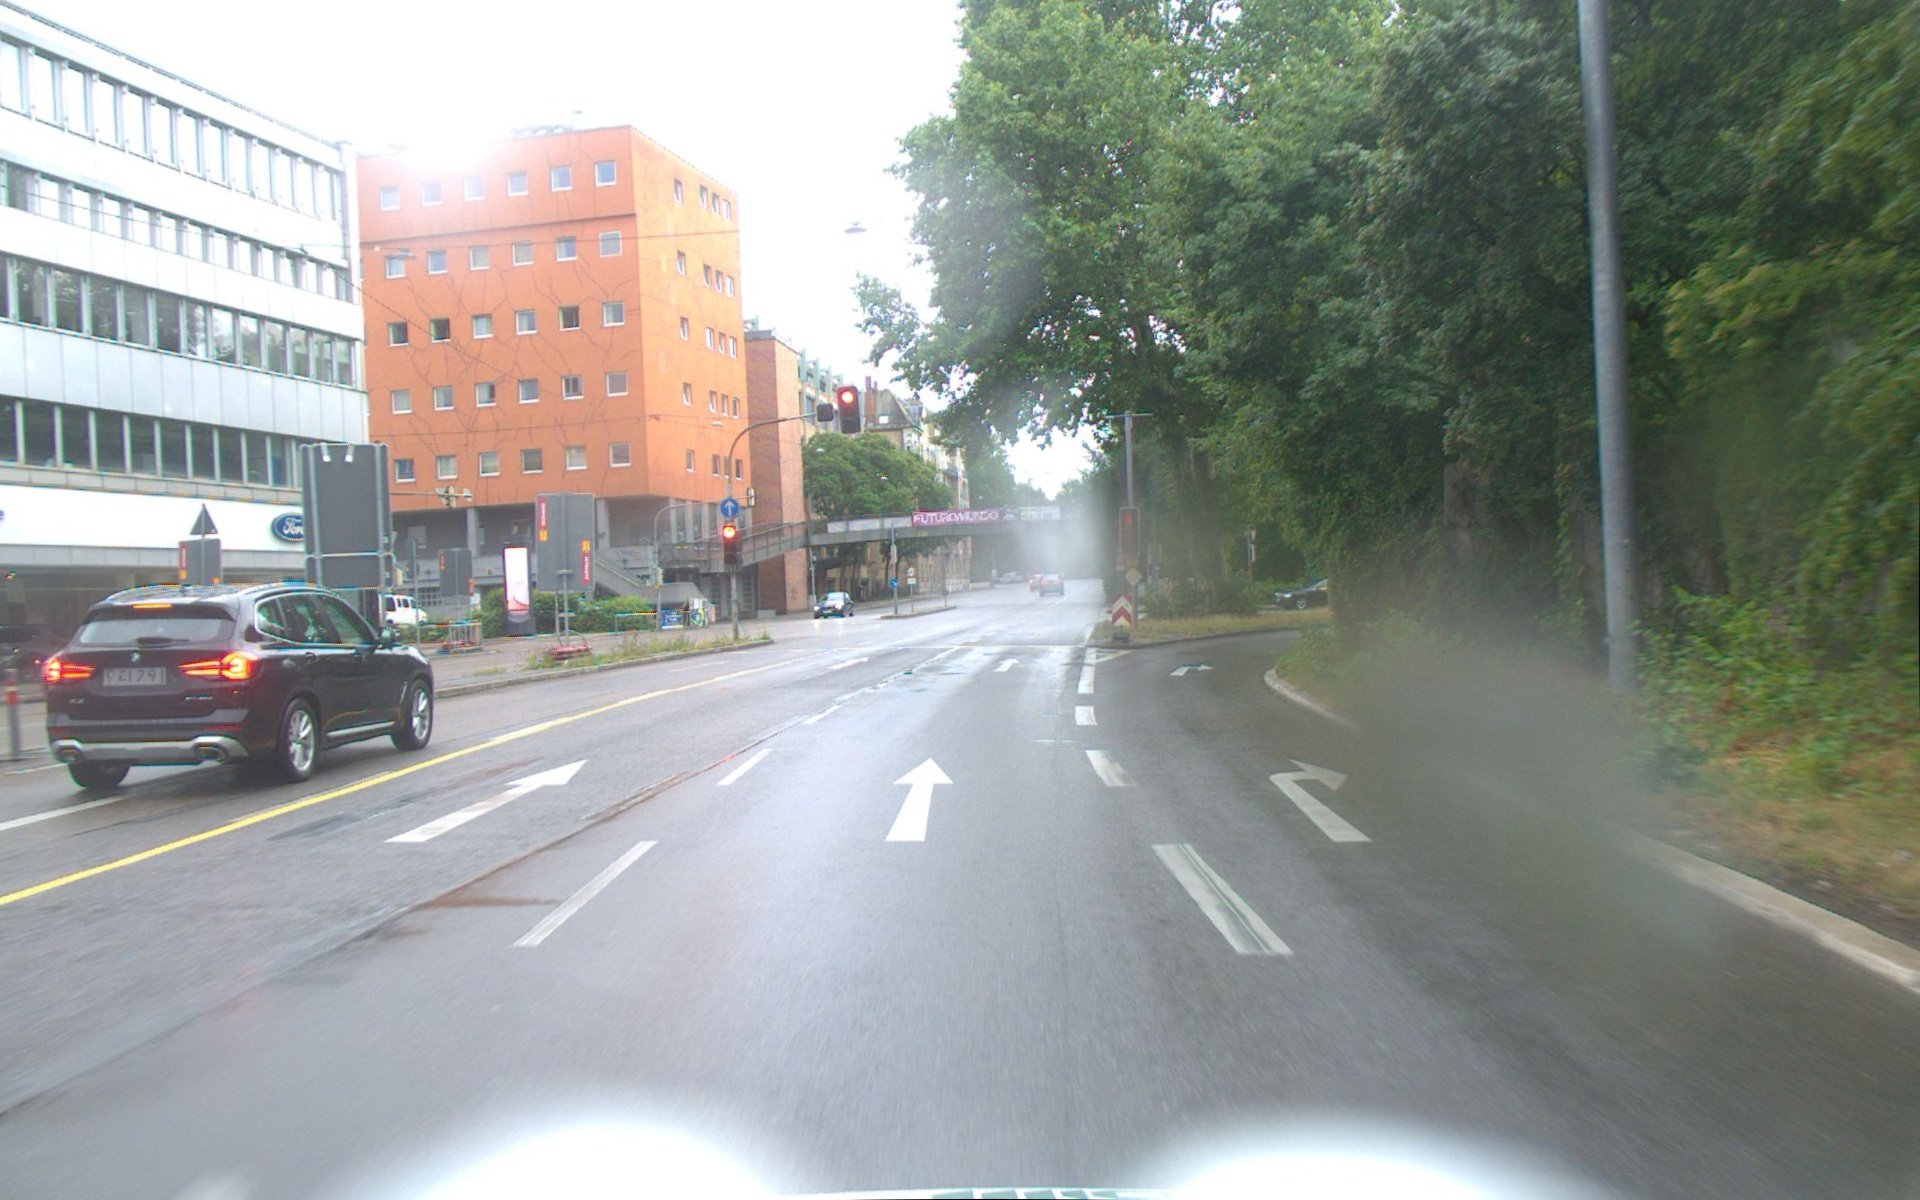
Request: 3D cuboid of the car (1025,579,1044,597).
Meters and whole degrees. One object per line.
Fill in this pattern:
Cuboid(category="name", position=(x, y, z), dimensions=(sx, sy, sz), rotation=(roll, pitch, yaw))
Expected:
Cuboid(category="car", position=(7.480, -1.203, 165.932), dimensions=(1.726, 1.726, 3.707), rotation=(-4, 0, 4))

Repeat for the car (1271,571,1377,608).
Cuboid(category="car", position=(17.079, -0.477, 77.704), dimensions=(4.512, 1.476, 1.773), rotation=(-3, 0, -3))

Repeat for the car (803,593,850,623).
Cuboid(category="car", position=(-7.542, 0.422, 93.619), dimensions=(1.952, 1.545, 4.002), rotation=(-3, 0, 5))

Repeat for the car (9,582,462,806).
Cuboid(category="car", position=(-6.256, 0.698, 15.010), dimensions=(1.907, 1.625, 4.672), rotation=(-1, 1, 2))

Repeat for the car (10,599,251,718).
Cuboid(category="car", position=(-14.537, 0.958, 29.291), dimensions=(1.697, 1.817, 4.304), rotation=(-4, 0, 5))

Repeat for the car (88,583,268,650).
Cuboid(category="car", position=(-24.820, 0.521, 52.649), dimensions=(4.666, 1.768, 1.998), rotation=(-4, 0, -5))

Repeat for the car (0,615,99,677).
Cuboid(category="car", position=(-27.241, 1.394, 46.280), dimensions=(5.096, 1.547, 1.995), rotation=(-4, 0, -11))

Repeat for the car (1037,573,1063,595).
Cuboid(category="car", position=(7.463, -1.343, 137.926), dimensions=(2.076, 1.765, 4.200), rotation=(-1, 1, 2))

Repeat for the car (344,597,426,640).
Cuboid(category="car", position=(-28.981, 0.906, 83.518), dimensions=(1.951, 2.049, 4.855), rotation=(2, 0, 6))
